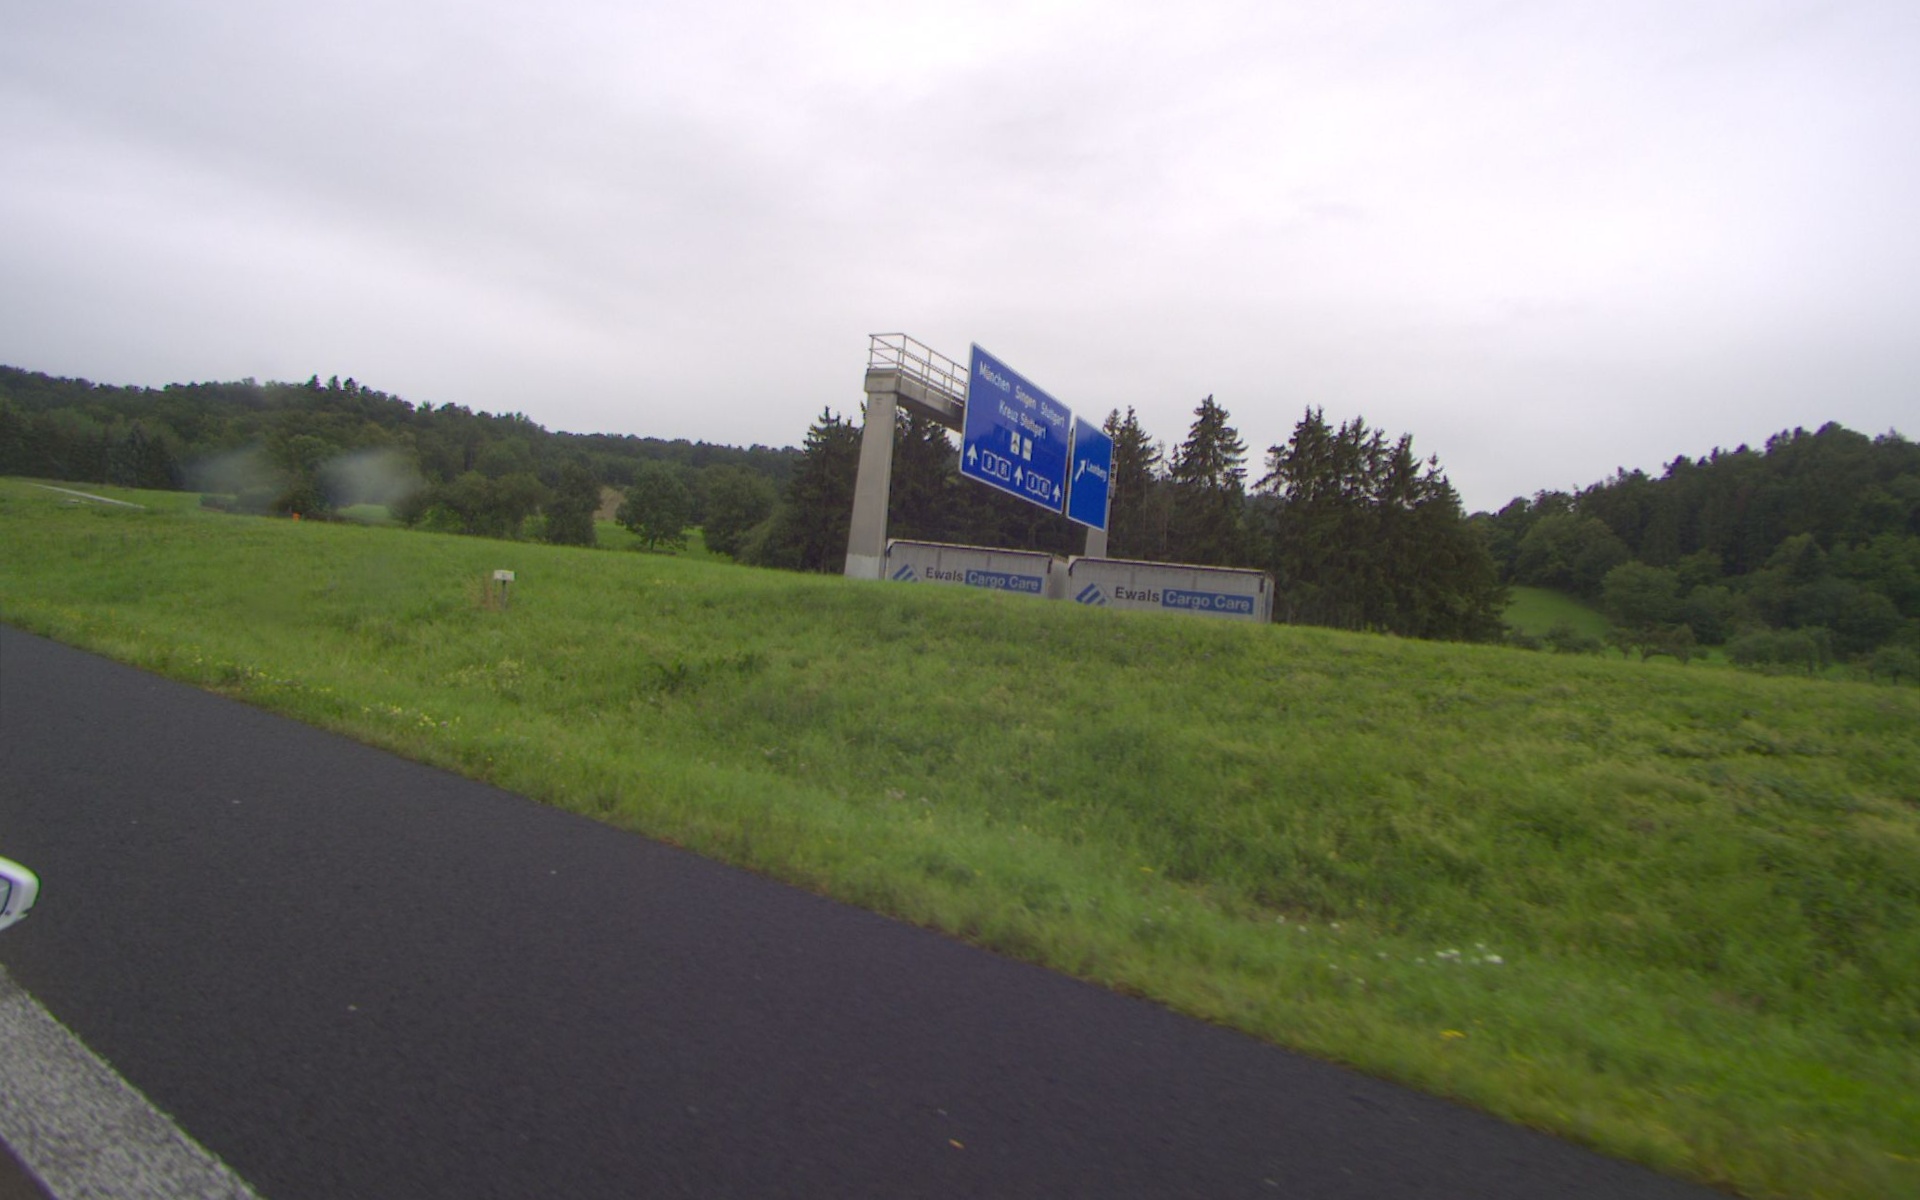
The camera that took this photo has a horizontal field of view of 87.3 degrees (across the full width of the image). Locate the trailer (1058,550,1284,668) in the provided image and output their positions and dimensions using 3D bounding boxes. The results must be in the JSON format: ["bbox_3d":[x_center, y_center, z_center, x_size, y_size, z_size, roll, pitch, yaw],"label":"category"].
[{"bbox_3d":[8.328,0.342,39.876,7.940,3.567,3.089,7,-2,25],"label":"trailer"}]

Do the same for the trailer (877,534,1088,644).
[{"bbox_3d":[0.931,-0.499,43.312,8.268,3.567,2.948,7,-2,25],"label":"trailer"}]

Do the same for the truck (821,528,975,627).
[{"bbox_3d":[-2.765,-0.992,45.025,5.821,3.567,2.948,7,-2,25],"label":"truck"}]
